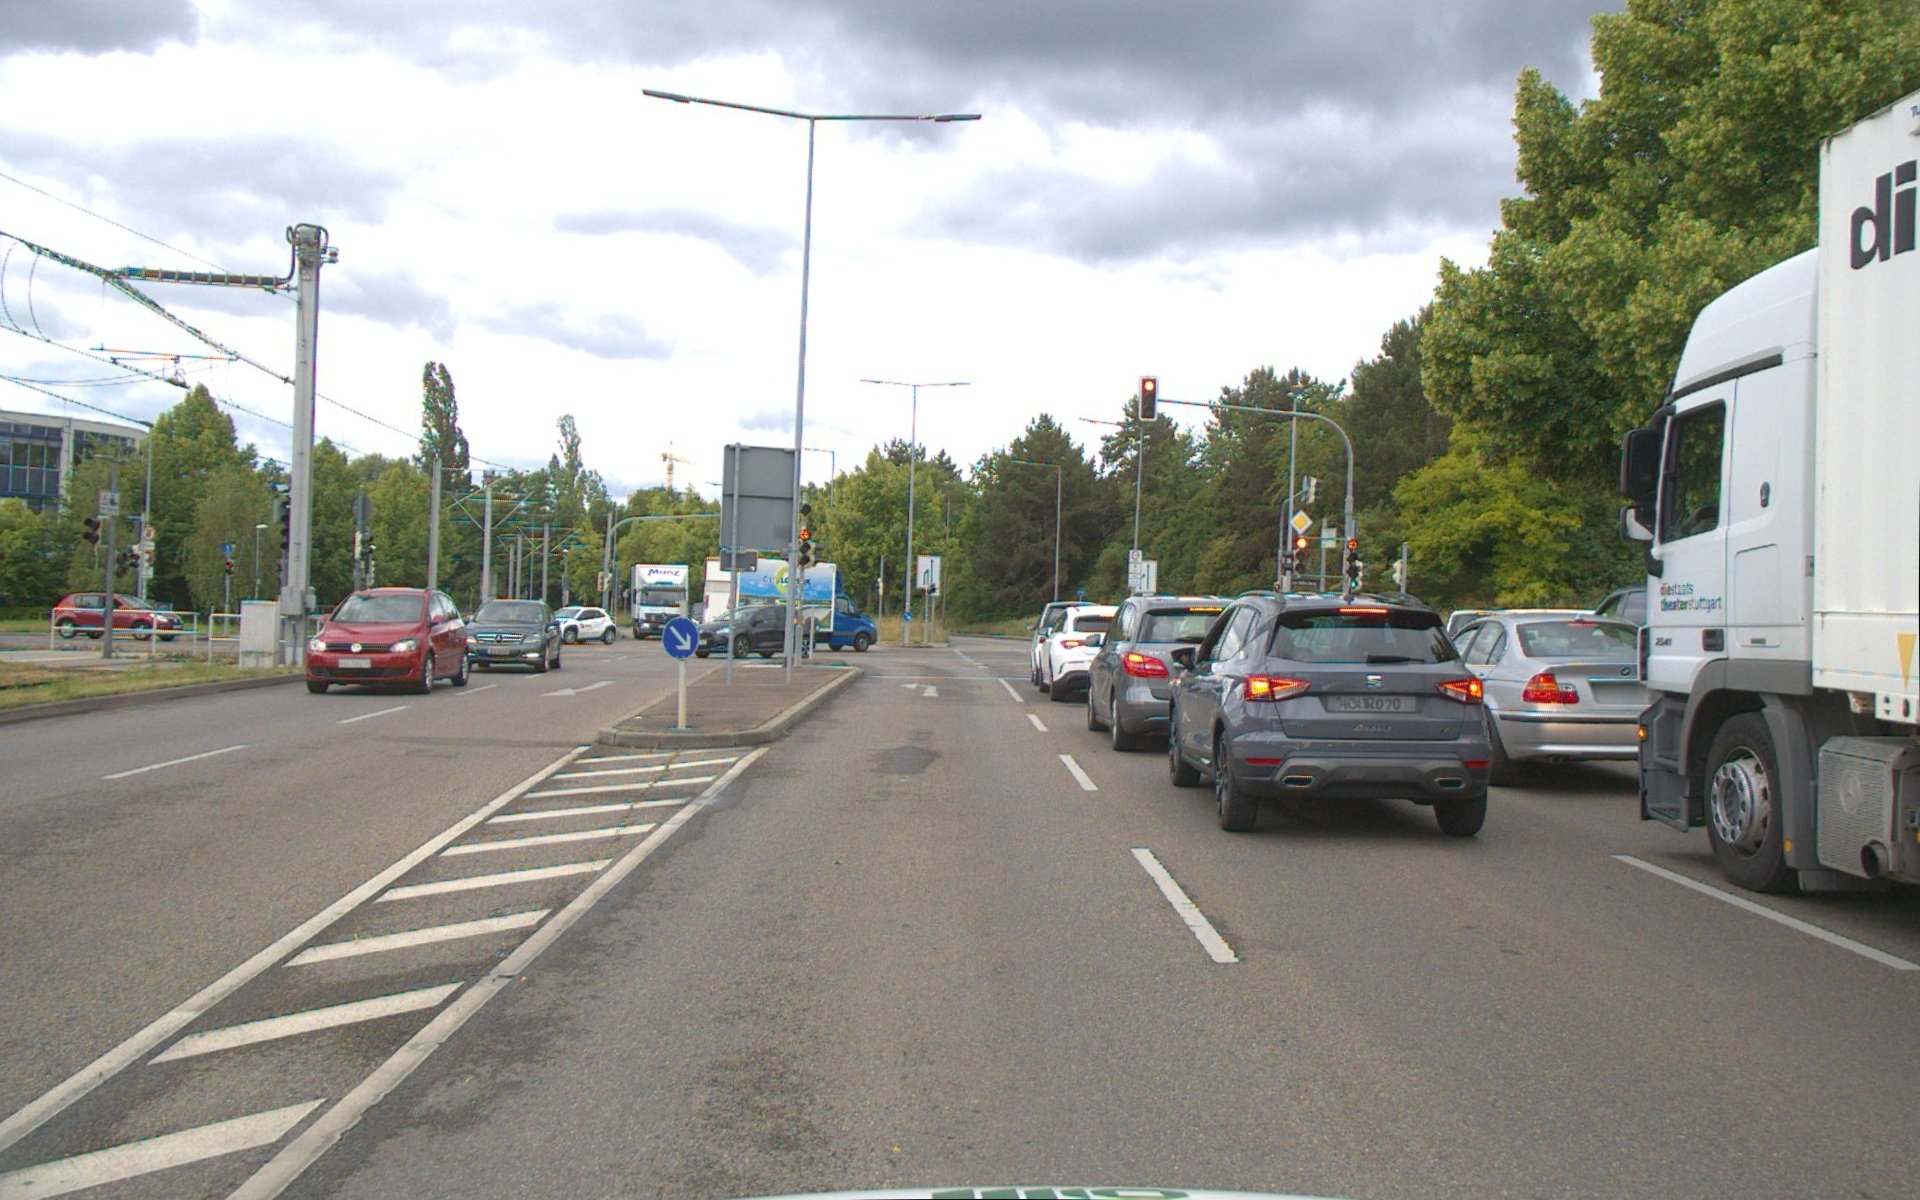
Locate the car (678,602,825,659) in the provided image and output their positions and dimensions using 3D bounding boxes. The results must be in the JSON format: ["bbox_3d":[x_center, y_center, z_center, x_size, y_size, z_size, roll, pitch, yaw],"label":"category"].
[{"bbox_3d":[-5.816,0.832,46.329,3.905,1.522,1.574,0,0,-42],"label":"car"}]

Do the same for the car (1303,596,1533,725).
[{"bbox_3d":[5.720,0.727,21.181,1.788,1.460,4.212,1,-1,0],"label":"car"}]

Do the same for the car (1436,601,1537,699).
[{"bbox_3d":[10.146,0.913,31.713,1.667,1.666,4.245,2,0,19],"label":"car"}]

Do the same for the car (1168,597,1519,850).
[{"bbox_3d":[2.562,0.744,11.970,1.663,1.512,4.000,1,0,1],"label":"car"}]

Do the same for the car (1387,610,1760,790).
[{"bbox_3d":[5.299,0.792,14.898,1.775,1.378,4.117,0,0,-1],"label":"car"}]

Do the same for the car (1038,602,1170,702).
[{"bbox_3d":[2.221,0.777,26.473,1.686,1.446,4.356,0,0,-1],"label":"car"}]

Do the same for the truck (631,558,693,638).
[{"bbox_3d":[-14.981,-0.078,82.737,2.614,3.713,9.471,2,-1,-13],"label":"truck"}]

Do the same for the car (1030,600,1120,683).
[{"bbox_3d":[2.178,0.777,31.789,1.504,1.531,2.669,0,-1,-1],"label":"car"}]

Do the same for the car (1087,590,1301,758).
[{"bbox_3d":[2.356,0.682,17.601,1.762,1.550,4.188,1,0,1],"label":"car"}]

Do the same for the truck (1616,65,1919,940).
[{"bbox_3d":[5.403,-0.432,8.393,2.518,3.770,4.106,0,1,0],"label":"truck"}]

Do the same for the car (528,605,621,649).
[{"bbox_3d":[-15.760,1.091,67.774,1.741,1.534,3.743,2,3,27],"label":"car"}]

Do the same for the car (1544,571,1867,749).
[{"bbox_3d":[8.573,0.607,19.506,1.788,1.835,4.506,1,0,0],"label":"car"}]

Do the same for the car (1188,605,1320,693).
[{"bbox_3d":[5.070,0.825,28.991,1.514,1.428,3.999,0,-1,-1],"label":"car"}]

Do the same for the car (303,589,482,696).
[{"bbox_3d":[-8.697,0.601,25.694,1.669,1.514,4.082,0,0,-5],"label":"car"}]

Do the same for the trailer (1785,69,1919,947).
[{"bbox_3d":[5.362,-0.365,4.358,2.513,3.770,7.764,0,1,0],"label":"trailer"}]

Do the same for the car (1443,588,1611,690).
[{"bbox_3d":[8.693,0.549,25.634,1.482,1.462,3.642,0,0,2],"label":"car"}]

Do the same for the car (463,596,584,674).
[{"bbox_3d":[-8.997,0.682,34.414,1.658,1.464,4.541,1,0,-5],"label":"car"}]

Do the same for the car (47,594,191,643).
[{"bbox_3d":[-28.121,0.629,55.376,3.904,1.543,1.733,1,-2,2],"label":"car"}]

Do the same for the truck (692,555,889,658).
[{"bbox_3d":[-6.378,0.234,63.125,7.195,3.661,2.654,1,2,-40],"label":"truck"}]

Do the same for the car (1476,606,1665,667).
[{"bbox_3d":[19.494,1.148,52.983,5.308,1.847,2.000,1,0,-1],"label":"car"}]

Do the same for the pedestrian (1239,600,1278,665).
[{"bbox_3d":[7.434,0.802,41.200,0.846,1.588,0.518,1,0,-2],"label":"pedestrian"}]
